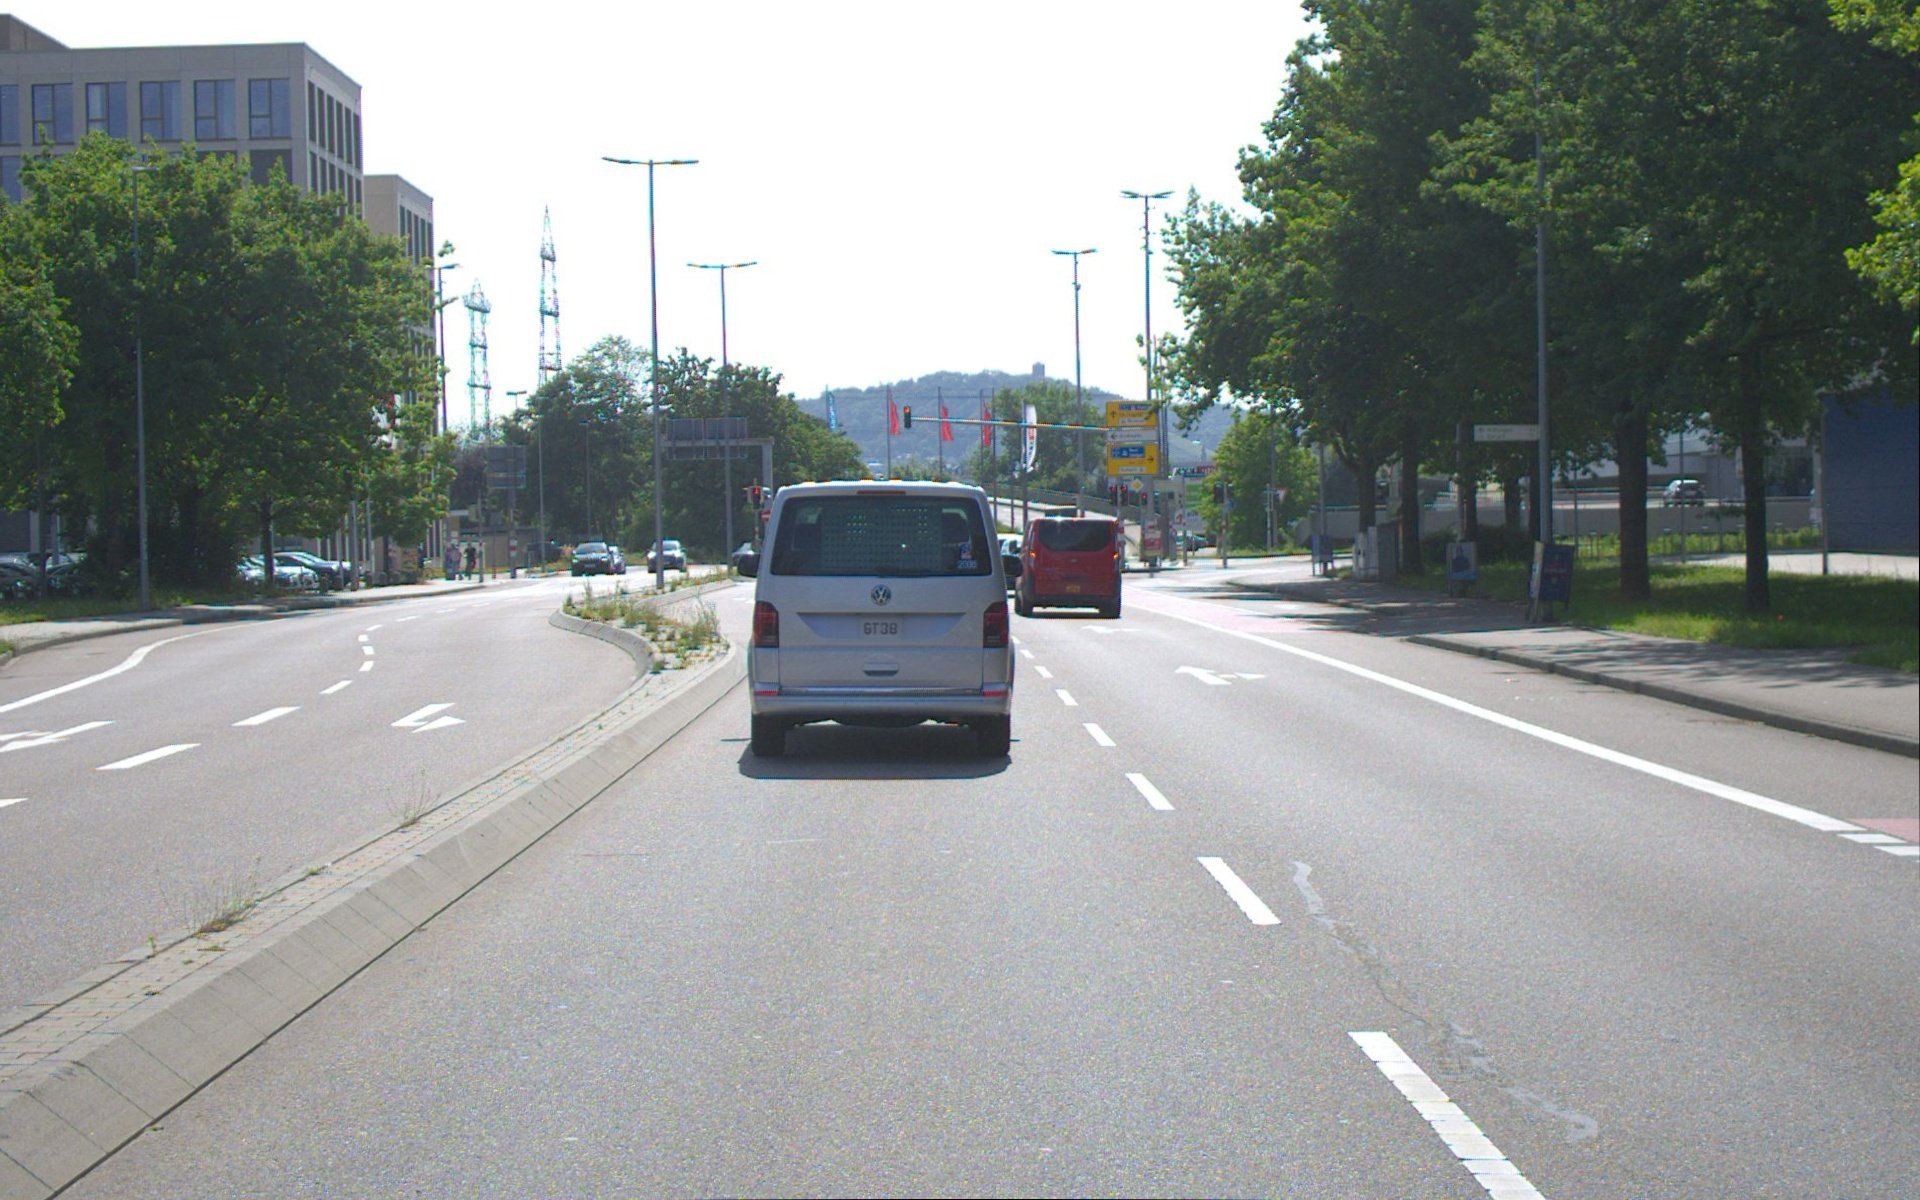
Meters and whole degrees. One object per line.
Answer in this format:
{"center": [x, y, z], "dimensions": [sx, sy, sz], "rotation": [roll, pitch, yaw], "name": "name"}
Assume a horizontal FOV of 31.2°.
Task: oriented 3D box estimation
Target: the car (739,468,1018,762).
{"center": [-0.582, 0.061, 25.298], "dimensions": [1.884, 1.983, 4.000], "rotation": [0, 1, -1], "name": "car"}

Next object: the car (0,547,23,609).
{"center": [-24.443, -0.362, 81.162], "dimensions": [3.987, 1.437, 2.000], "rotation": [-5, 1, 0], "name": "car"}

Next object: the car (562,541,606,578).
{"center": [-17.903, -1.923, 163.758], "dimensions": [1.738, 1.613, 4.210], "rotation": [-4, 1, -3], "name": "car"}

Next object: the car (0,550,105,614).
{"center": [-24.626, -0.394, 89.125], "dimensions": [4.304, 1.437, 2.052], "rotation": [-5, 1, -1], "name": "car"}

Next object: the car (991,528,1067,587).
{"center": [1.738, -1.110, 87.613], "dimensions": [1.746, 1.453, 4.476], "rotation": [0, 1, -1], "name": "car"}

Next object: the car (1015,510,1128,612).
{"center": [2.206, -0.811, 69.386], "dimensions": [1.967, 1.961, 5.126], "rotation": [0, 1, -2], "name": "car"}
